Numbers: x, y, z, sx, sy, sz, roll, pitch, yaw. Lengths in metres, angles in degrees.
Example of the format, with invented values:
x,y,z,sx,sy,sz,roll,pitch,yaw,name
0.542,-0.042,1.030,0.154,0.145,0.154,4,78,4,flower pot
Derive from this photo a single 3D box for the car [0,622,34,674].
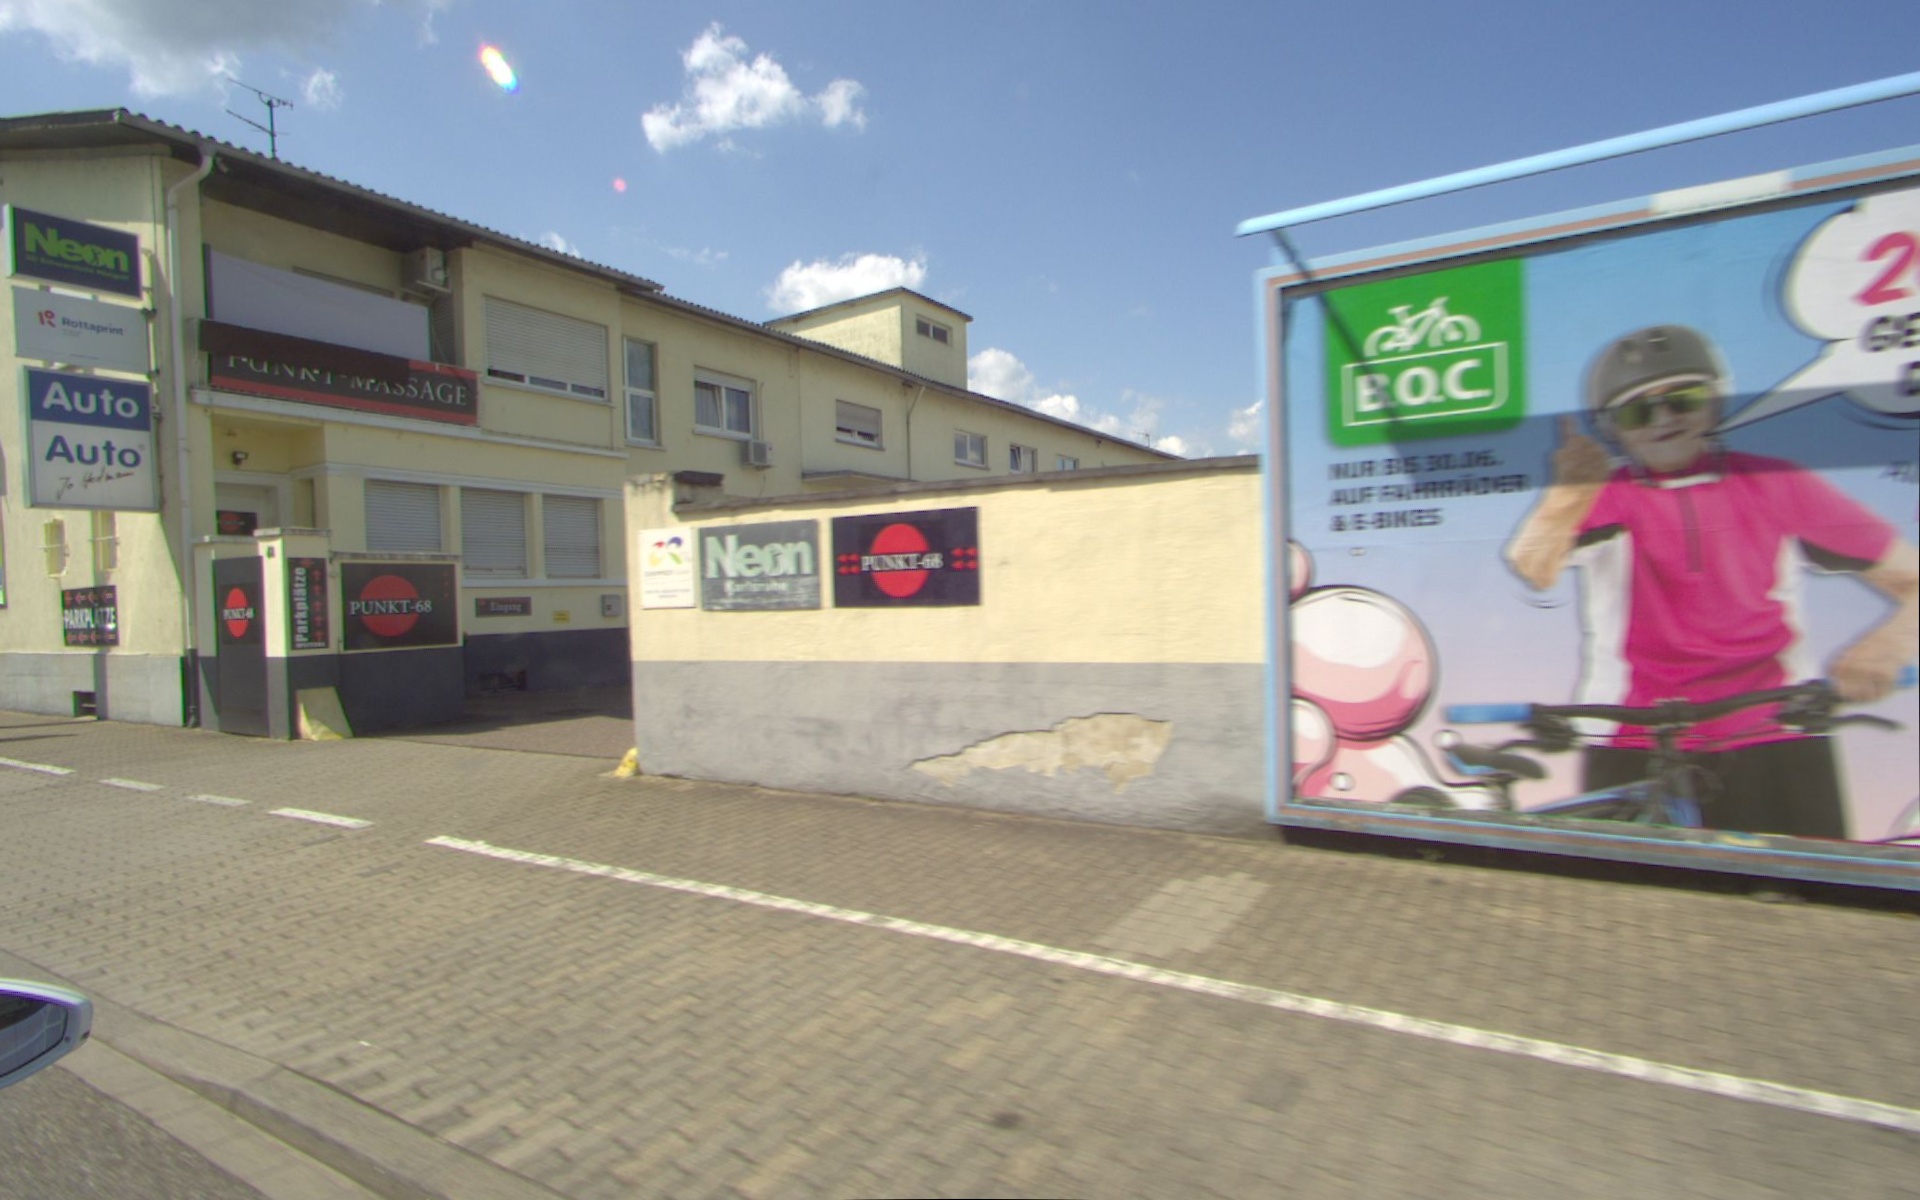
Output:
x,y,z,sx,sy,sz,roll,pitch,yaw,name
-28.426,1.407,27.509,1.798,1.450,4.165,-2,0,39,car

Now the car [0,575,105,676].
x,y,z,sx,sy,sz,roll,pitch,yaw,name
-25.834,0.696,26.428,2.122,2.607,4.524,-2,0,34,car
